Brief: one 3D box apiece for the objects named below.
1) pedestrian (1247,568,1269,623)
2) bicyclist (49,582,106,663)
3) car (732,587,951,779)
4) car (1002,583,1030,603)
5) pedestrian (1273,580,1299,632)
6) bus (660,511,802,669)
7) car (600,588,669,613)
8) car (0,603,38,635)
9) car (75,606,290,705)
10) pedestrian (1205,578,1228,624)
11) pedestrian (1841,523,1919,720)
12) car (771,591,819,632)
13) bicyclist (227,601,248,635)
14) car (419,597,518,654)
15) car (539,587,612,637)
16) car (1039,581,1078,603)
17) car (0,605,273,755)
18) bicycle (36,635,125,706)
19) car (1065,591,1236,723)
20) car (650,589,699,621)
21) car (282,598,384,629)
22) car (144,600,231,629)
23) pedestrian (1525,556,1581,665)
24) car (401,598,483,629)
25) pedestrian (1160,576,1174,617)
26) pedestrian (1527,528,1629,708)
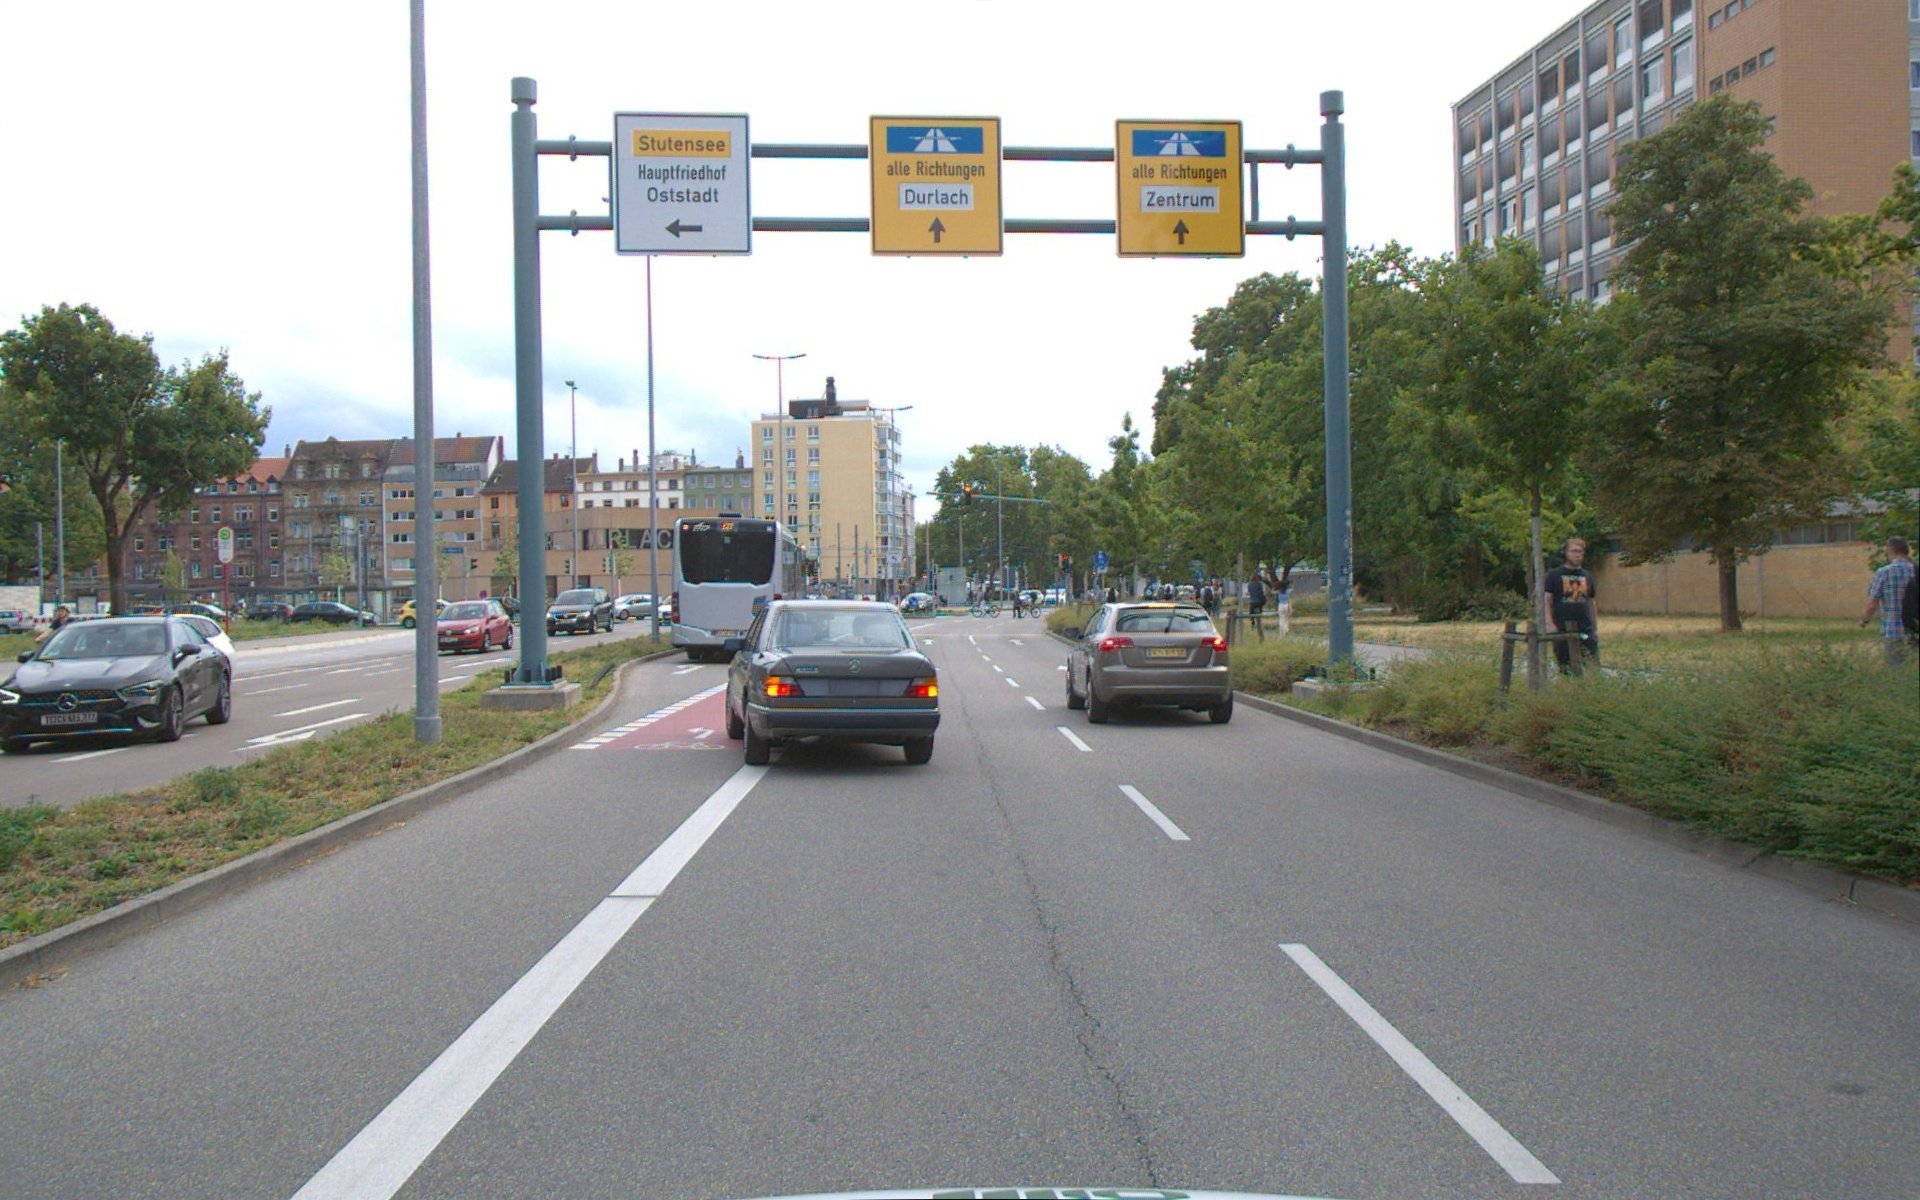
[{"bbox_3d":[9.556,-0.142,53.012,0.632,1.743,0.562,-1,0,13],"label":"pedestrian"},{"bbox_3d":[-16.094,0.400,30.186,0.568,1.443,0.811,-1,0,1],"label":"bicyclist"},{"bbox_3d":[-1.245,0.655,15.557,1.728,1.515,4.163,-1,1,-8],"label":"car"},{"bbox_3d":[5.096,-0.609,150.381,1.951,1.732,4.004,-1,1,10],"label":"car"},{"bbox_3d":[9.400,0.172,47.675,0.643,1.496,0.562,-1,0,15],"label":"pedestrian"},{"bbox_3d":[-5.464,-0.273,40.786,2.775,3.449,8.177,-1,1,-3],"label":"bus"},{"bbox_3d":[-18.731,0.036,95.212,3.656,1.419,1.559,0,0,-44],"label":"car"},{"bbox_3d":[-51.649,1.037,88.029,4.076,1.678,1.644,-2,0,-8],"label":"car"},{"bbox_3d":[-13.592,0.912,29.235,1.765,1.515,4.415,-1,1,-1],"label":"car"},{"bbox_3d":[9.734,0.032,62.693,0.784,1.743,0.765,-1,0,11],"label":"pedestrian"},{"bbox_3d":[8.676,0.188,15.268,0.606,1.765,0.814,-1,0,-1],"label":"pedestrian"},{"bbox_3d":[-5.958,0.396,60.065,1.622,1.421,3.857,-1,1,-4],"label":"car"},{"bbox_3d":[-35.671,0.896,81.679,0.771,1.672,0.571,-1,0,-7],"label":"bicyclist"},{"bbox_3d":[-14.215,0.712,48.071,1.766,1.515,4.286,-1,1,-3],"label":"car"},{"bbox_3d":[-14.151,0.415,61.102,1.765,1.694,4.298,-3,1,-2],"label":"car"},{"bbox_3d":[10.144,-0.867,169.769,2.530,2.146,5.602,-1,0,20],"label":"car"},{"bbox_3d":[-9.810,0.857,19.737,1.767,1.515,4.400,-1,1,-6],"label":"car"},{"bbox_3d":[-16.103,1.279,30.325,0.570,1.191,1.964,-1,0,0],"label":"bicycle"},{"bbox_3d":[2.319,0.647,20.948,1.689,1.483,3.736,-1,1,0],"label":"car"},{"bbox_3d":[-13.452,0.231,78.138,1.637,1.413,3.921,-2,1,-1],"label":"car"},{"bbox_3d":[-32.105,0.687,84.798,4.581,1.501,1.658,0,0,-8],"label":"car"},{"bbox_3d":[-39.196,0.735,83.972,3.692,1.419,1.582,0,0,-8],"label":"car"},{"bbox_3d":[9.500,0.160,26.513,0.575,1.712,0.748,-1,0,-1],"label":"pedestrian"},{"bbox_3d":[-26.798,0.685,85.627,3.783,1.544,1.658,0,0,-7],"label":"car"},{"bbox_3d":[10.602,-0.188,84.554,0.602,2.049,0.597,-1,0,-3],"label":"pedestrian"},{"bbox_3d":[6.628,0.182,17.720,0.915,1.862,0.886,-1,0,26],"label":"pedestrian"}]
